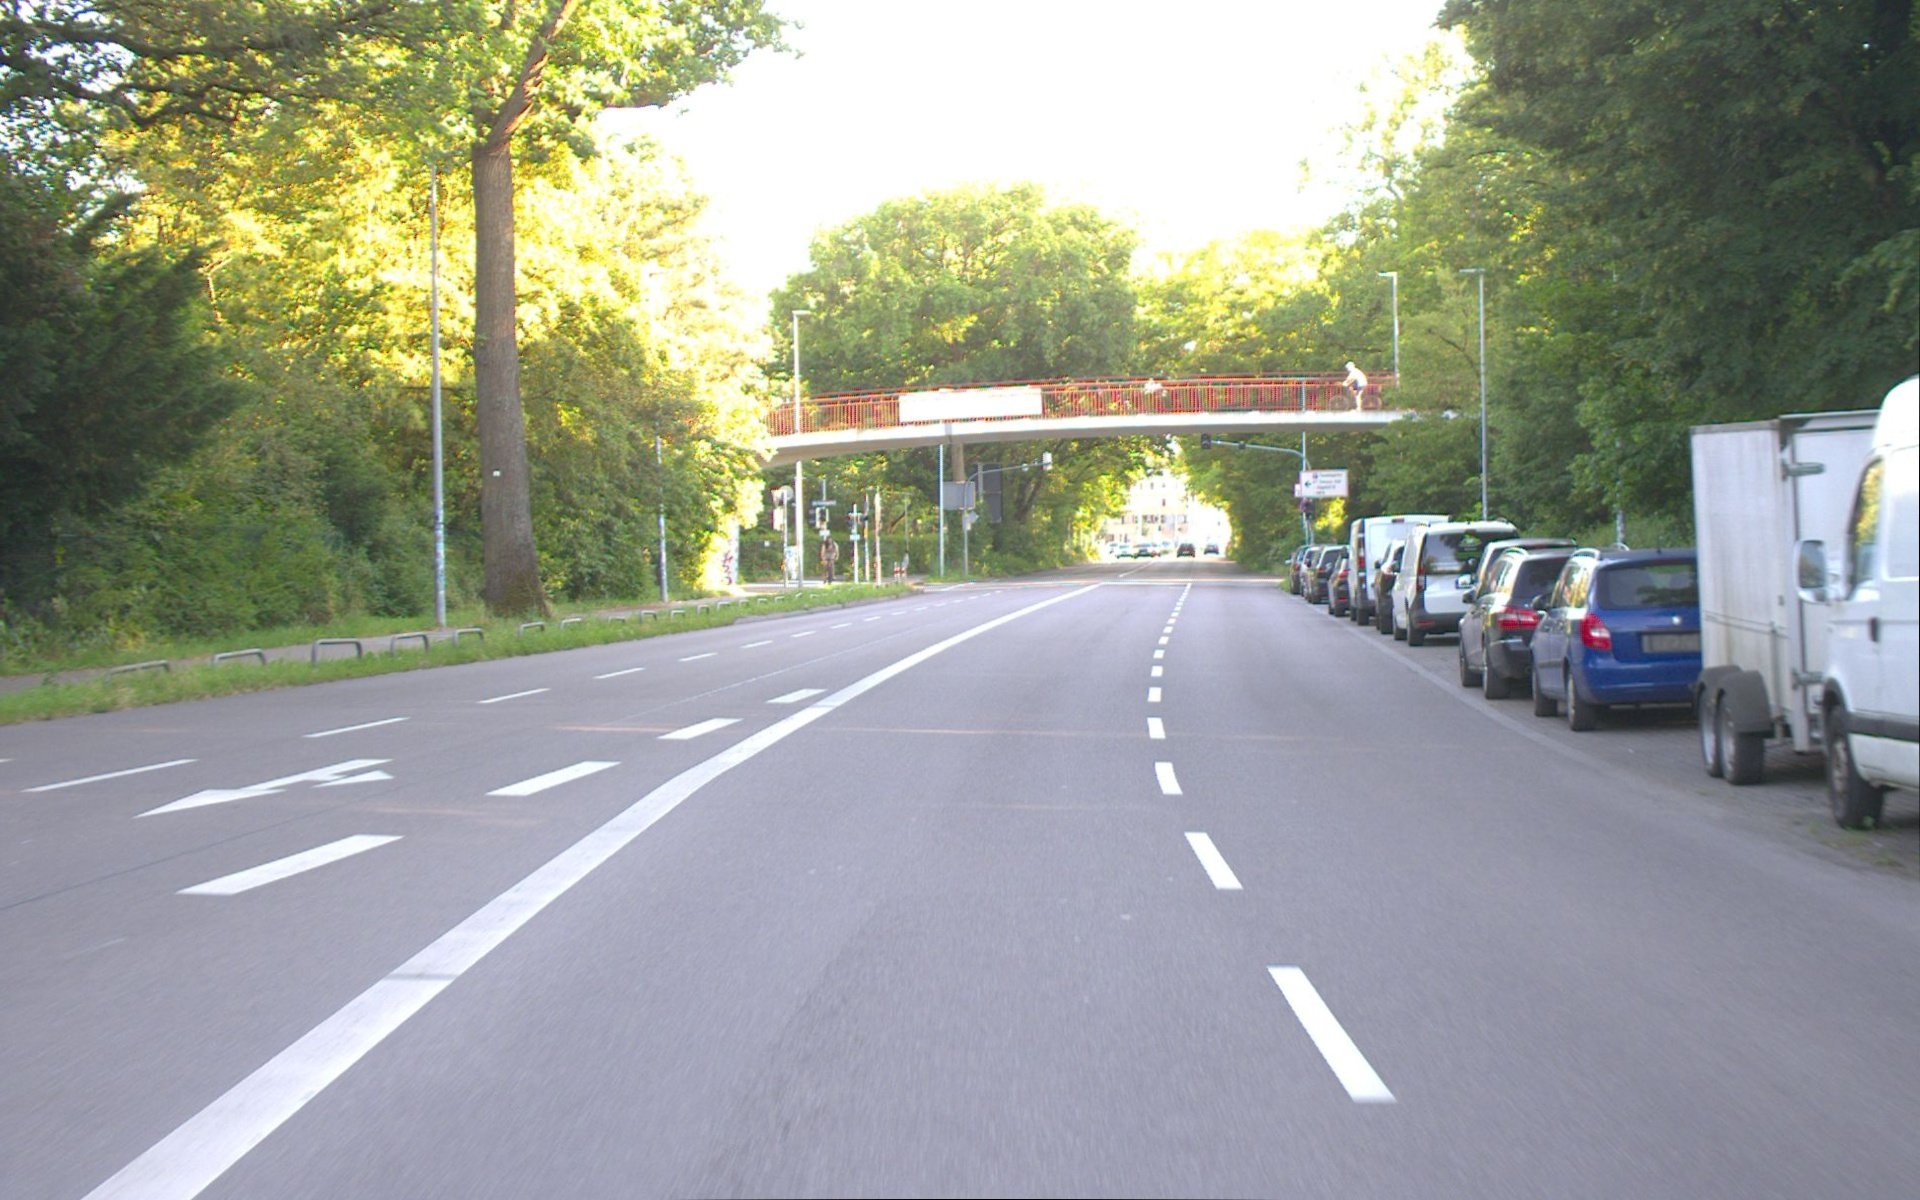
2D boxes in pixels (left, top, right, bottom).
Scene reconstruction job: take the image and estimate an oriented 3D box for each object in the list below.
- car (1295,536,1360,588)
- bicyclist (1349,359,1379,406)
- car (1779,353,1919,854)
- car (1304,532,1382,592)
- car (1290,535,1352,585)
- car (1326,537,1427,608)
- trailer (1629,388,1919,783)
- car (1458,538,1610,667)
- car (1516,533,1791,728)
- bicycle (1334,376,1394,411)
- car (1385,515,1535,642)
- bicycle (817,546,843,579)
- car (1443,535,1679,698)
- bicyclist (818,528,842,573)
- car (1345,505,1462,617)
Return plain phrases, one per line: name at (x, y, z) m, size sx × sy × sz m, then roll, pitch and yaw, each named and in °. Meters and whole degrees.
car at (10.748, -1.123, 100.382) m, size 1.775 × 1.449 × 4.013 m, roll -1°, pitch 1°, yaw 7°
bicyclist at (14.012, -7.541, 119.185) m, size 0.970 × 1.580 × 0.714 m, roll 1°, pitch 0°, yaw 3°
car at (5.589, -0.002, 16.972) m, size 1.904 × 2.415 × 5.575 m, roll -1°, pitch 1°, yaw 2°
car at (9.731, -0.963, 87.538) m, size 1.637 × 1.449 × 4.897 m, roll -1°, pitch 1°, yaw 3°
car at (10.983, -1.220, 104.824) m, size 1.774 × 1.449 × 4.387 m, roll -1°, pitch 1°, yaw 5°
car at (8.613, -0.583, 71.393) m, size 1.869 × 1.401 × 4.368 m, roll -1°, pitch 1°, yaw 4°
trailer at (6.006, -0.130, 23.743) m, size 1.904 × 2.415 × 5.126 m, roll -1°, pitch 1°, yaw 2°
car at (7.037, 0.014, 42.347) m, size 1.586 × 1.490 × 3.180 m, roll -1°, pitch 1°, yaw 5°
car at (5.953, 0.220, 29.944) m, size 1.677 × 1.530 × 4.353 m, roll -1°, pitch 1°, yaw 3°
bicycle at (13.995, -7.169, 119.185) m, size 1.987 × 1.143 × 0.714 m, roll 1°, pitch 0°, yaw 3°
car at (7.535, -0.334, 52.178) m, size 1.759 × 1.798 × 4.737 m, roll -1°, pitch 1°, yaw 3°
bicycle at (-4.540, -1.308, 120.091) m, size 0.712 × 1.143 × 1.993 m, roll 1°, pitch 0°, yaw 4°
car at (6.156, 0.128, 35.710) m, size 1.759 × 1.530 × 4.989 m, roll -1°, pitch 1°, yaw 3°
bicyclist at (-4.531, -1.727, 120.089) m, size 0.712 × 1.553 × 1.142 m, roll 1°, pitch 0°, yaw 4°
car at (8.315, -0.733, 64.803) m, size 1.869 × 1.974 × 5.474 m, roll -1°, pitch 1°, yaw 4°
